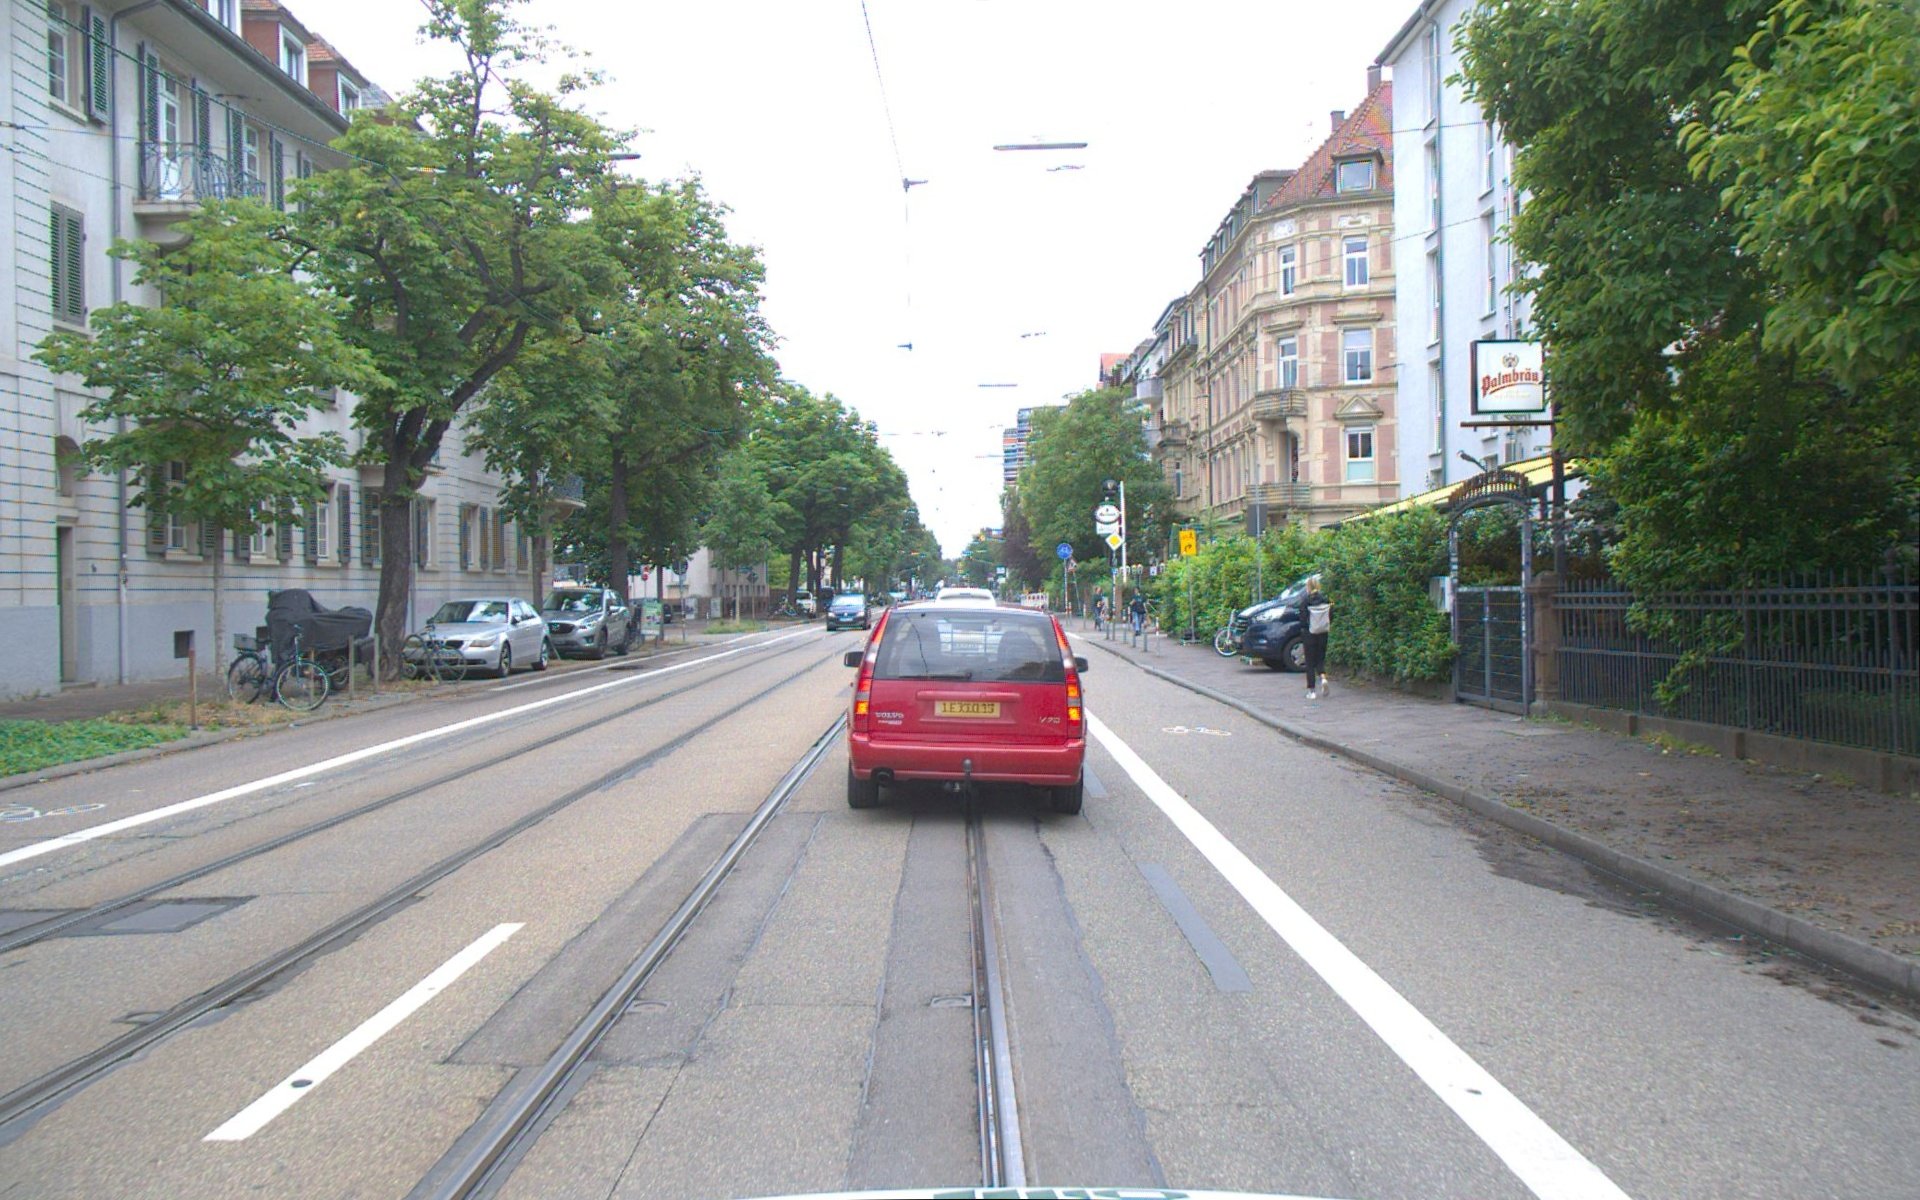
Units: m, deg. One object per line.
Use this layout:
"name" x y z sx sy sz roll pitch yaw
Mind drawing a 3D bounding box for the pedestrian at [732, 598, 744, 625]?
"pedestrian" -12.389 0.646 92.253 0.553 1.493 0.722 -1 0 0

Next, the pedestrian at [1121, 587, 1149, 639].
"pedestrian" 5.769 0.432 54.486 0.777 1.665 0.836 -2 0 0

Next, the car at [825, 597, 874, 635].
"car" -4.396 0.633 66.140 1.694 1.433 3.655 -1 0 -1

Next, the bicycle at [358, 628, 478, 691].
"bicycle" -9.260 1.010 28.296 1.857 1.045 0.563 0 0 -5

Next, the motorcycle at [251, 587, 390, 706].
"motorcycle" -9.465 0.655 24.617 0.815 1.672 2.482 -1 0 8

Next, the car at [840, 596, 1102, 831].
"car" 0.145 0.714 12.332 1.654 1.467 3.744 0 0 2

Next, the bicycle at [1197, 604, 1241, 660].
"bicycle" 5.782 0.701 37.012 0.620 1.147 1.812 -3 1 -1

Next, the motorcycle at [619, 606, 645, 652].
"motorcycle" -9.417 0.824 47.500 0.529 1.279 2.139 -1 0 -7

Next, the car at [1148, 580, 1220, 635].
"car" 8.299 0.236 60.952 2.008 1.910 5.033 -1 0 15

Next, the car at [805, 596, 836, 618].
"car" -9.896 0.507 117.536 1.740 1.537 4.238 0 0 1

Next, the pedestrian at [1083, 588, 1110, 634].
"pedestrian" 5.075 0.401 61.282 0.854 1.685 0.909 -1 0 12

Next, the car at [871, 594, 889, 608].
"car" -8.904 0.114 184.431 1.813 1.590 3.942 -1 0 0

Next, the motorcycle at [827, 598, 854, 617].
"motorcycle" -10.103 0.615 139.482 2.226 1.538 0.923 -1 -2 35

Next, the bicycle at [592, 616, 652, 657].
"bicycle" -9.022 0.967 44.215 1.347 1.022 0.930 2 0 4

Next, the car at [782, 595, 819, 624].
"car" -9.491 0.556 98.377 1.859 1.684 4.224 -1 0 -1

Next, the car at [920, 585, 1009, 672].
"car" 0.140 0.540 33.857 1.683 1.653 3.942 -1 0 2

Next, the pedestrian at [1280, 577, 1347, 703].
"pedestrian" 4.945 0.546 23.173 0.611 1.700 0.959 -4 0 -1

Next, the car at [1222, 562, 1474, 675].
"car" 7.133 0.328 30.713 4.192 1.840 1.824 -3 0 1

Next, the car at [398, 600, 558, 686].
"car" -9.120 0.759 31.670 1.775 1.491 4.613 0 0 -1

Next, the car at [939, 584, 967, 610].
"car" -0.465 -0.193 108.256 1.706 1.634 3.998 -1 0 -2

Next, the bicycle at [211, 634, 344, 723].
"bicycle" -9.227 1.062 22.354 1.705 1.148 0.518 -2 0 18

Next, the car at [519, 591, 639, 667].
"car" -9.086 0.643 39.779 1.800 1.690 4.293 1 0 1

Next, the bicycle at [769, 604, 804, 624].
"bicycle" -9.925 0.782 94.586 1.883 1.141 0.624 1 0 -1
